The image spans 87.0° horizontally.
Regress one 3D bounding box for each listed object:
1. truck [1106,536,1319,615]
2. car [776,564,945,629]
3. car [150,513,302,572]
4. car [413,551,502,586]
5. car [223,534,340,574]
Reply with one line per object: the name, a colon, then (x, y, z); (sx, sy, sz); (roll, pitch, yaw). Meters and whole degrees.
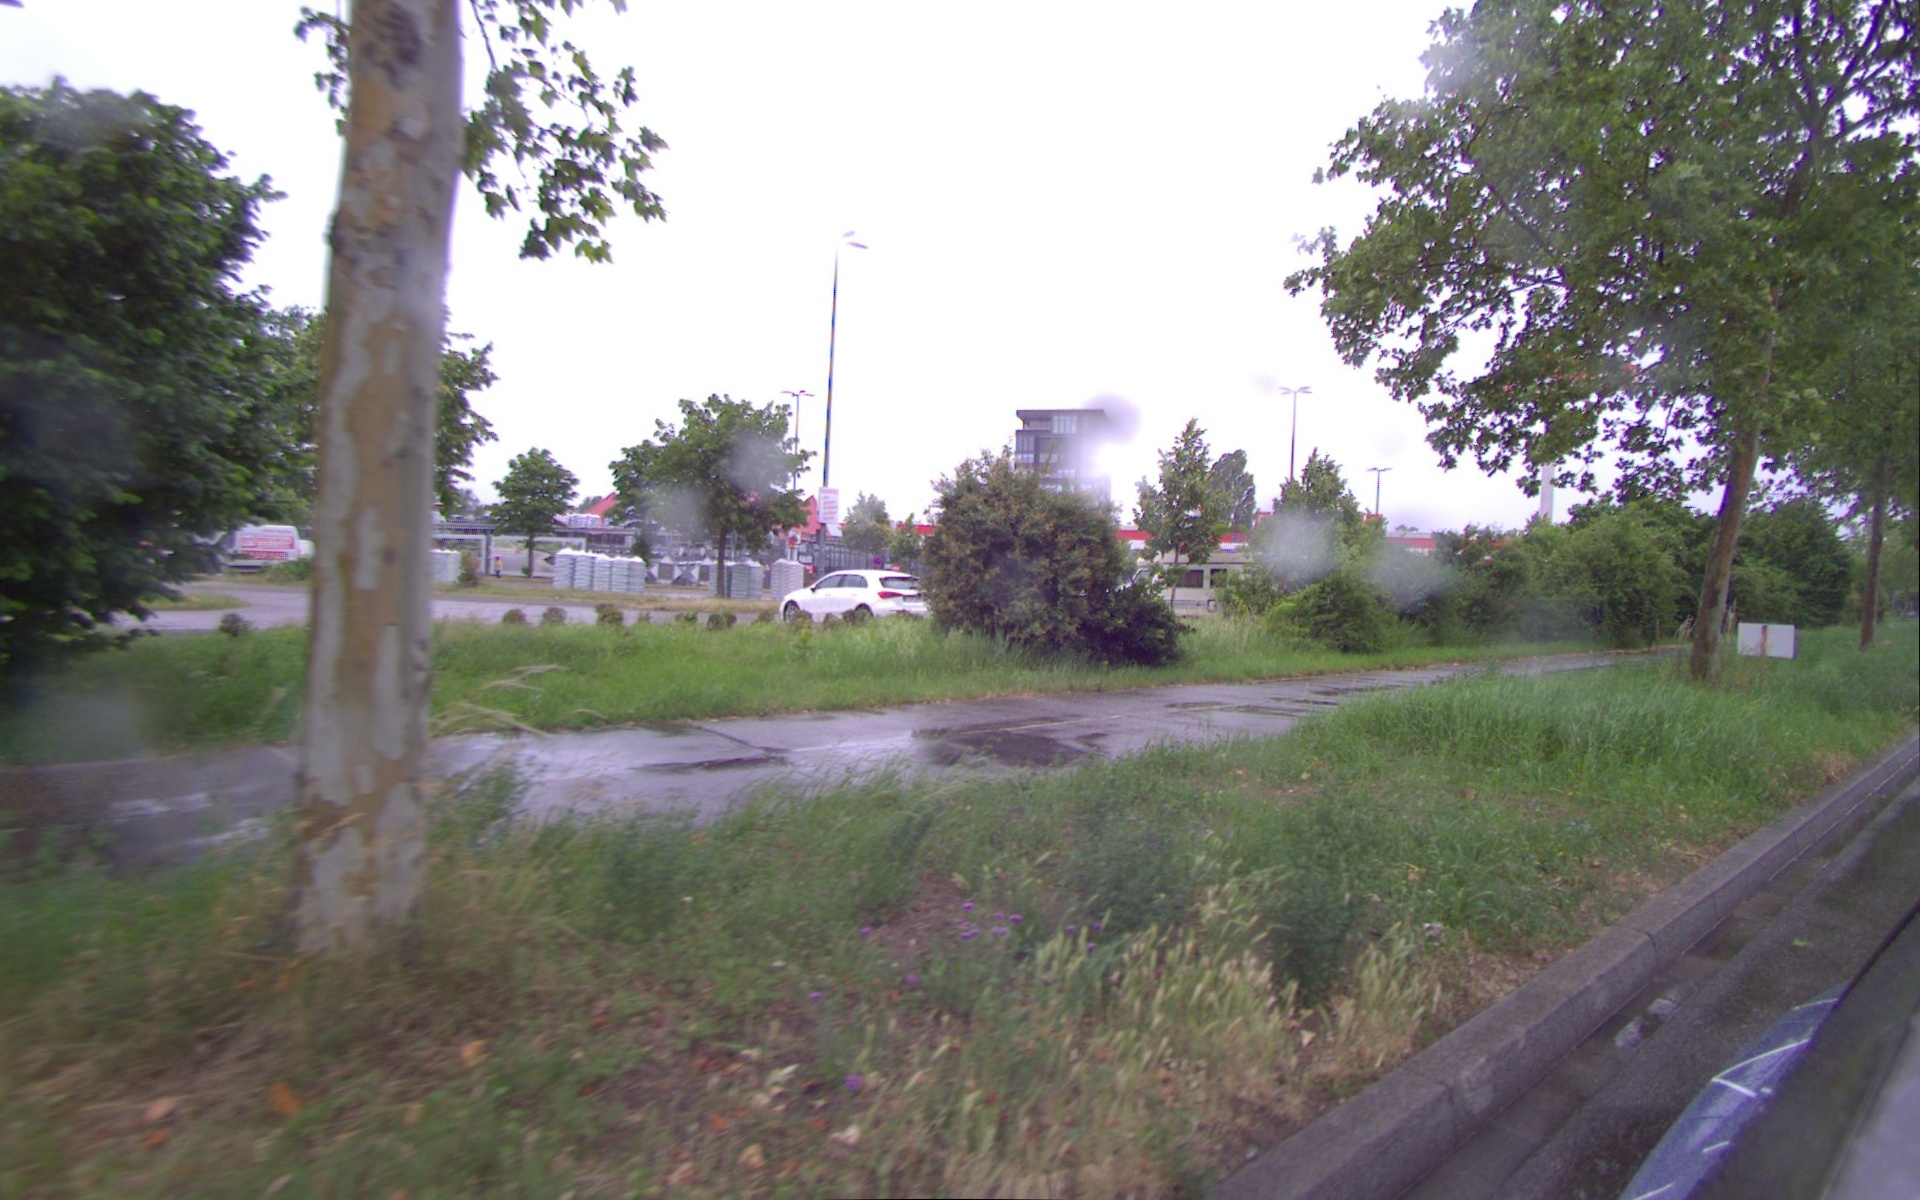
truck: (8.078, -0.757, 33.009); (6.529, 2.333, 2.186); (1, 1, 43)
car: (-2.382, -0.109, 23.542); (1.838, 1.382, 3.990); (-1, 1, -44)
car: (-32.477, -2.460, 45.059); (1.969, 2.364, 5.652); (0, 1, 11)
car: (-32.451, -2.062, 65.390); (5.085, 2.229, 2.072); (1, 3, 17)
car: (-39.860, -2.634, 59.623); (1.977, 2.170, 5.628); (0, 1, 23)
